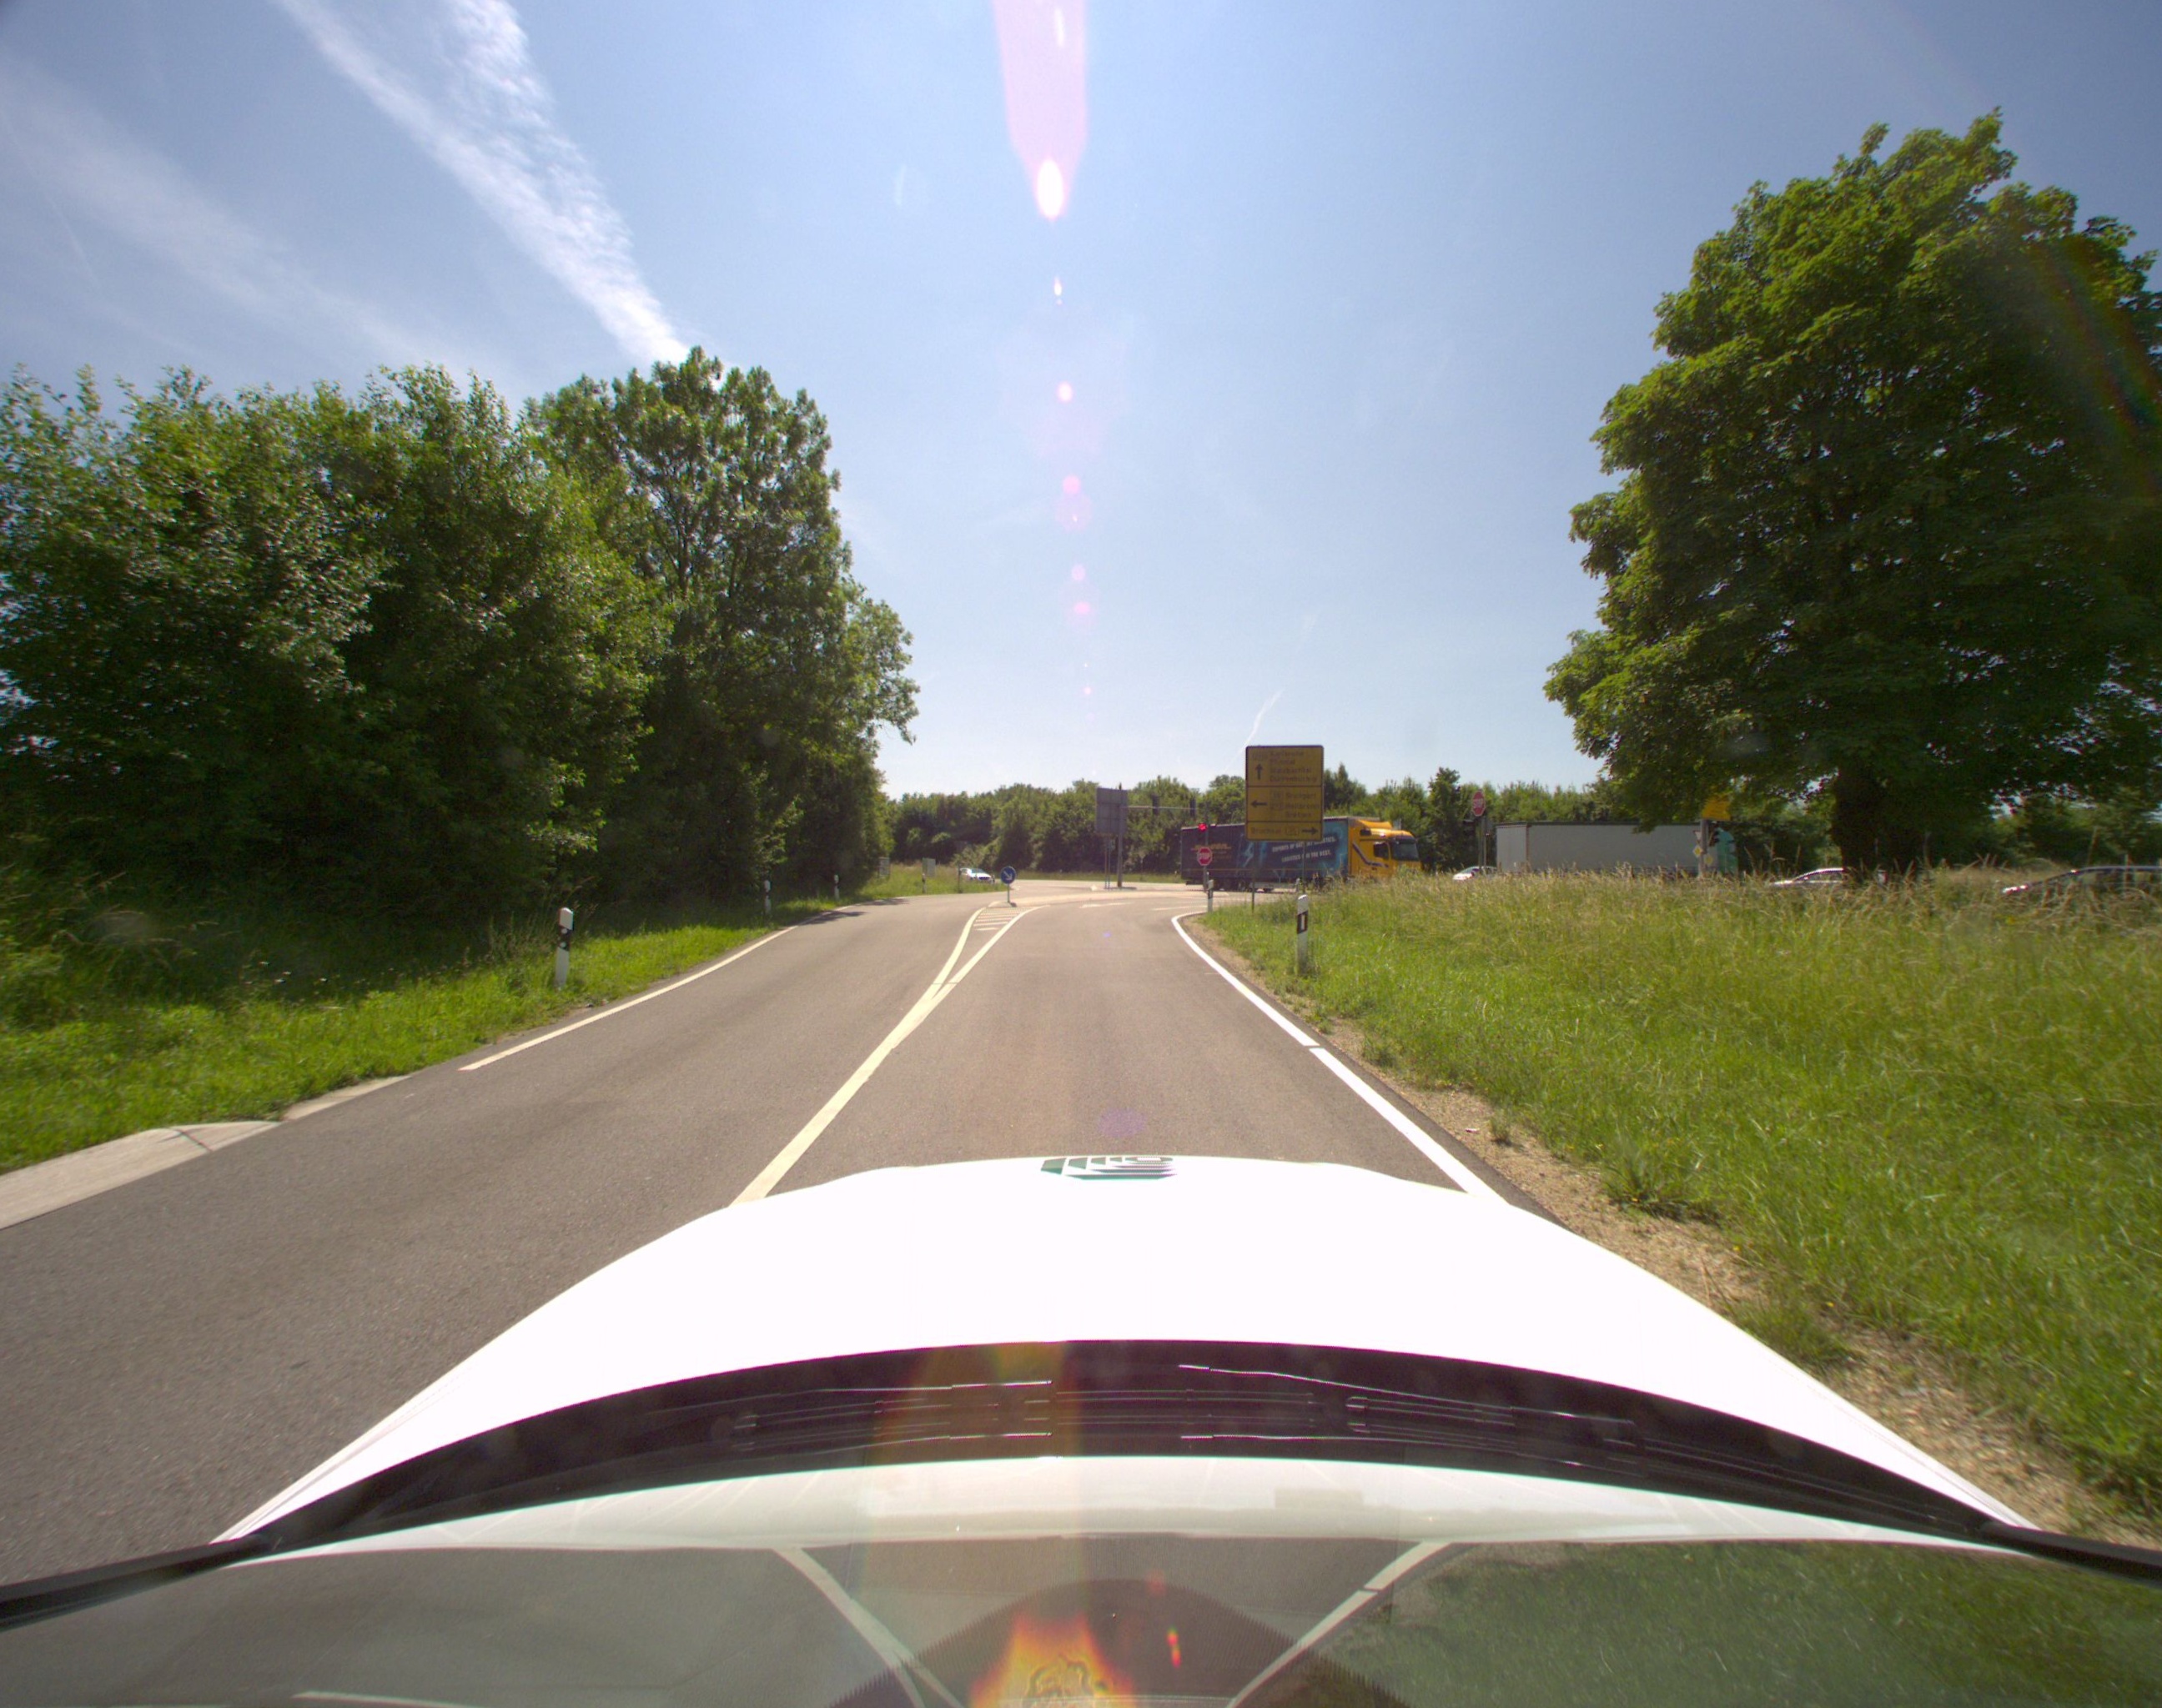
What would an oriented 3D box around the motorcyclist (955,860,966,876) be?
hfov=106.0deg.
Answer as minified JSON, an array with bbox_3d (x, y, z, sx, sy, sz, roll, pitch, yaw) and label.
[{"bbox_3d":[-13.797,1.578,93.558,0.844,1.843,0.888,-1,-2,-44],"label":"motorcyclist"}]

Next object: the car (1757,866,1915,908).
[{"bbox_3d":[28.972,1.218,31.417,1.733,1.470,4.133,-1,0,-27],"label":"car"}]

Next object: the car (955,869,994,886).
[{"bbox_3d":[-9.448,2.078,71.846,1.814,1.412,5.288,0,-1,-26],"label":"car"}]

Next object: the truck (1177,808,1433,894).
[{"bbox_3d":[11.909,-0.052,46.934,2.862,4.131,16.639,1,-1,-32],"label":"truck"}]

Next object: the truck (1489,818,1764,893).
[{"bbox_3d":[32.621,0.016,48.616,16.650,4.173,3.121,-1,-1,-13],"label":"truck"}]

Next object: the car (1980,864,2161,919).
[{"bbox_3d":[31.816,1.129,25.682,1.732,1.553,4.347,-1,0,-24],"label":"car"}]

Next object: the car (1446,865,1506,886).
[{"bbox_3d":[26.810,1.417,55.246,3.527,1.371,1.561,0,-1,-17],"label":"car"}]
